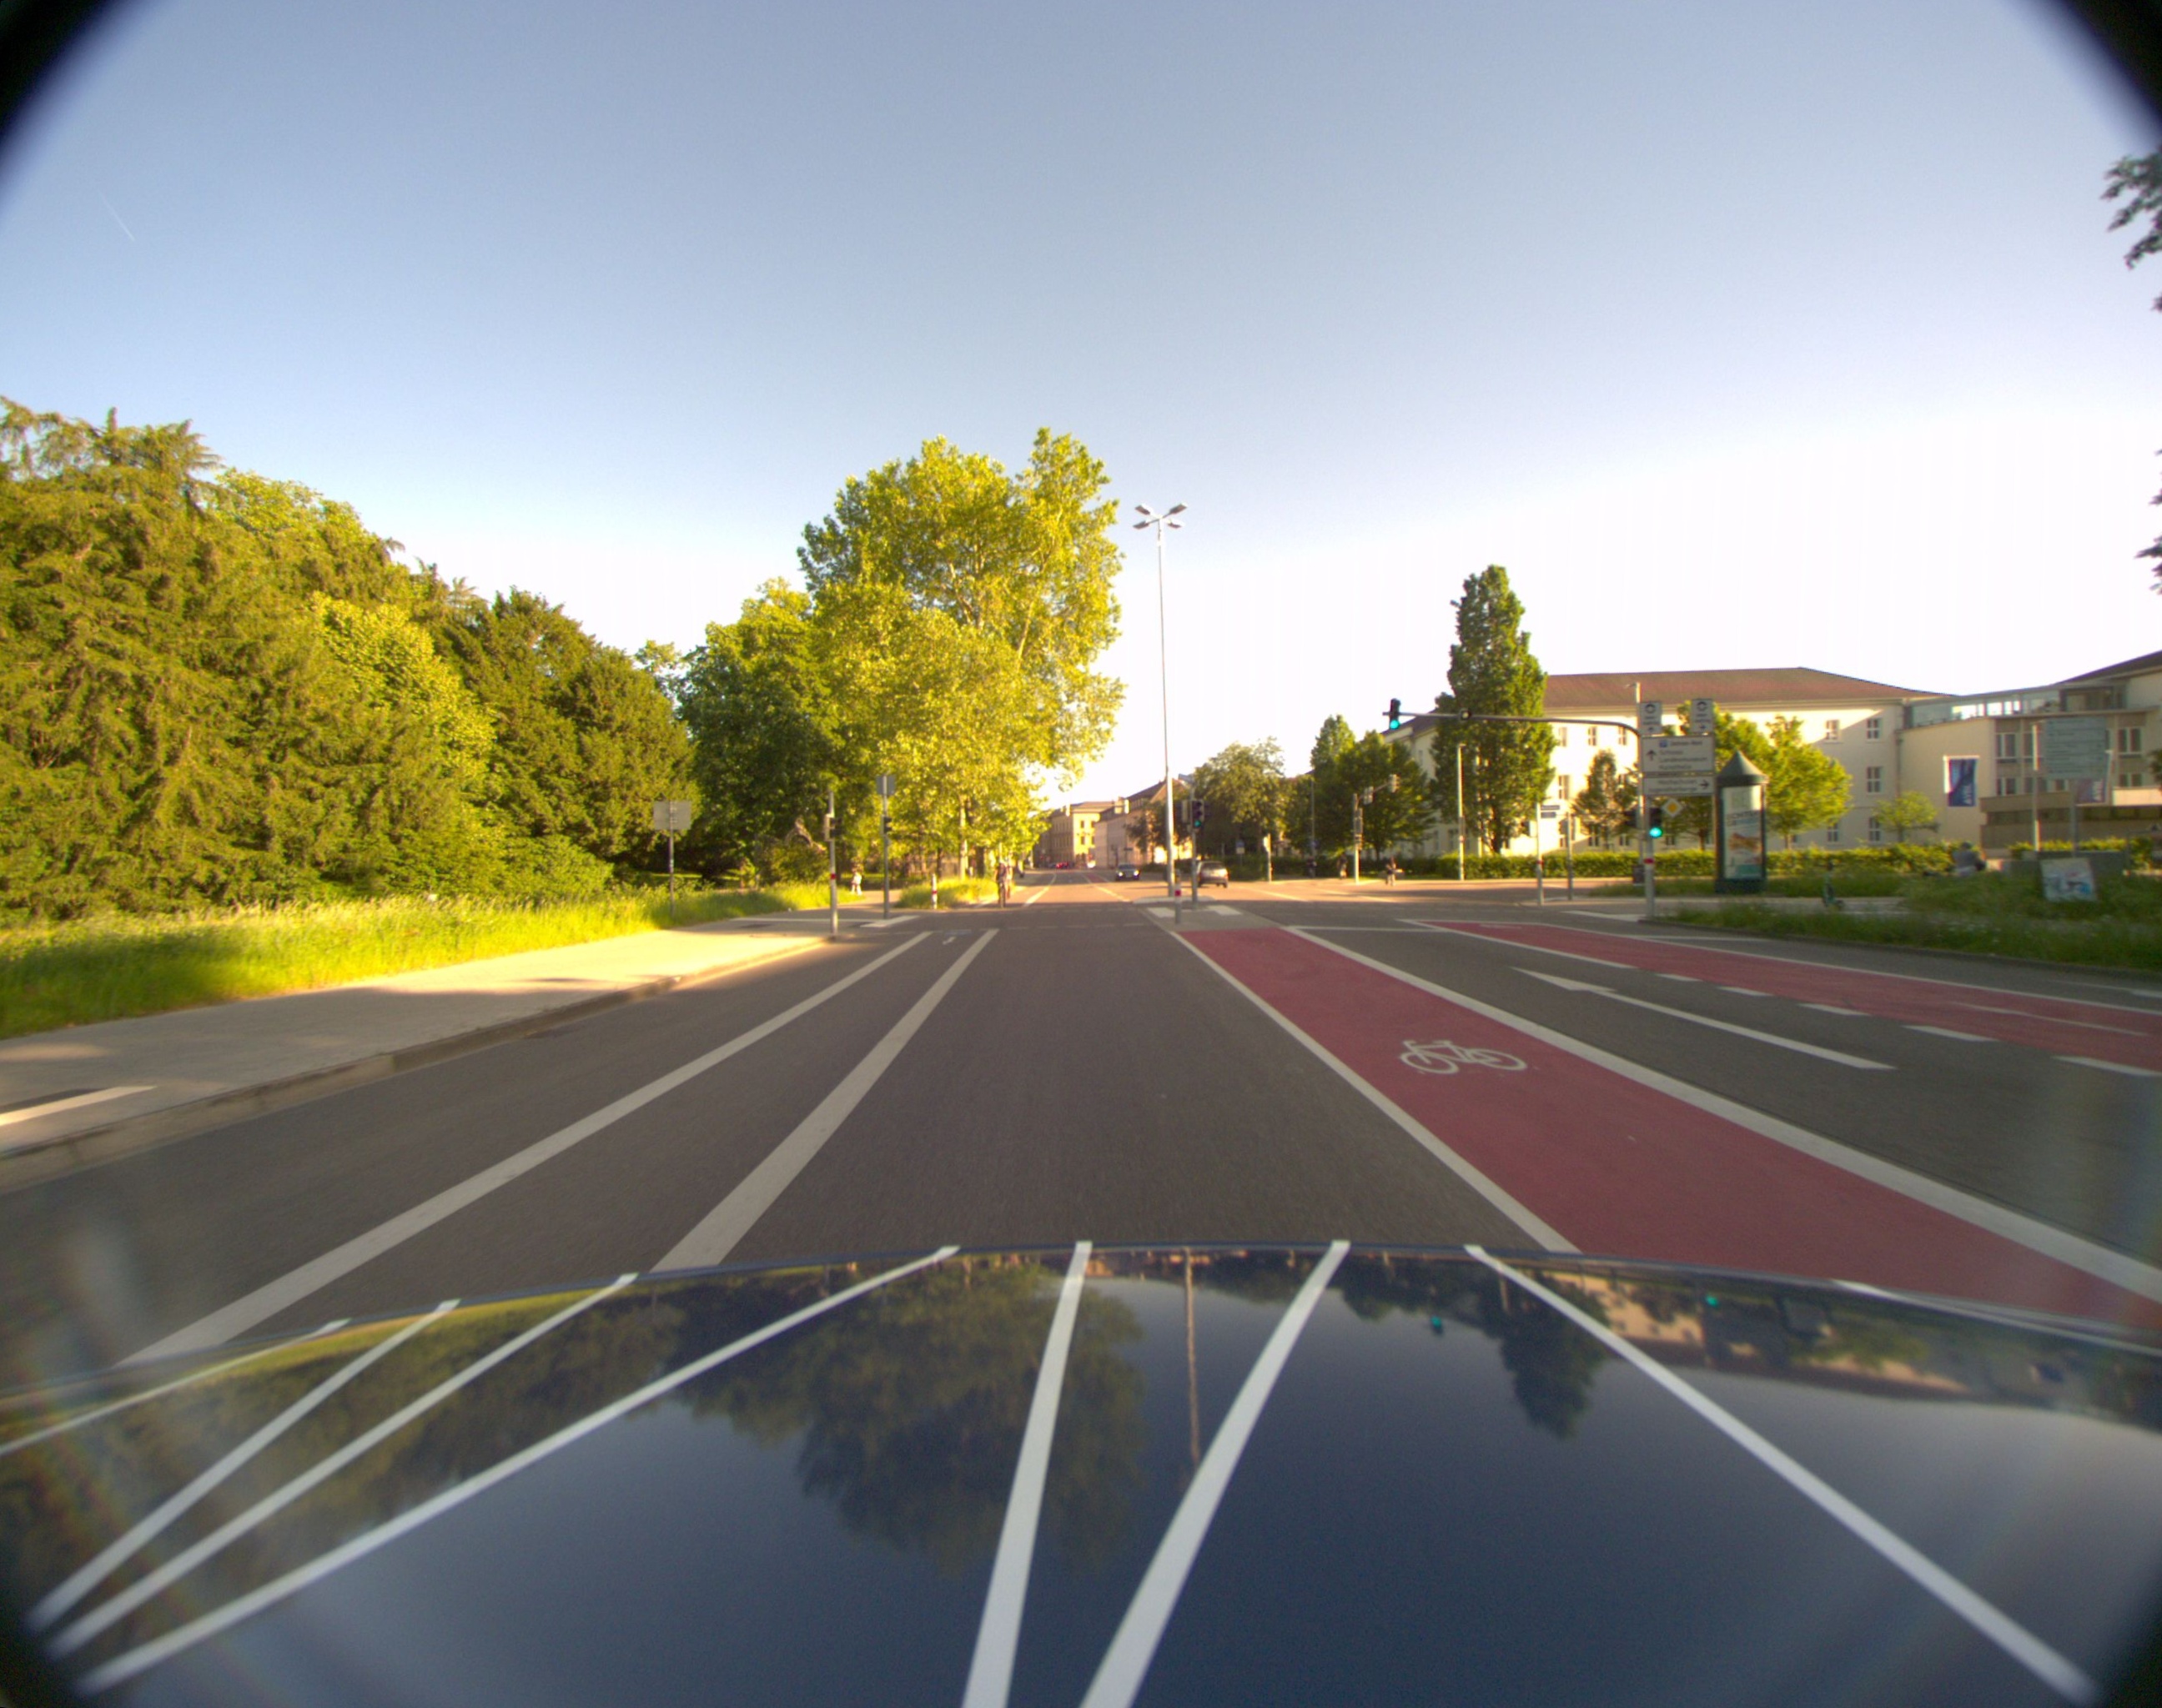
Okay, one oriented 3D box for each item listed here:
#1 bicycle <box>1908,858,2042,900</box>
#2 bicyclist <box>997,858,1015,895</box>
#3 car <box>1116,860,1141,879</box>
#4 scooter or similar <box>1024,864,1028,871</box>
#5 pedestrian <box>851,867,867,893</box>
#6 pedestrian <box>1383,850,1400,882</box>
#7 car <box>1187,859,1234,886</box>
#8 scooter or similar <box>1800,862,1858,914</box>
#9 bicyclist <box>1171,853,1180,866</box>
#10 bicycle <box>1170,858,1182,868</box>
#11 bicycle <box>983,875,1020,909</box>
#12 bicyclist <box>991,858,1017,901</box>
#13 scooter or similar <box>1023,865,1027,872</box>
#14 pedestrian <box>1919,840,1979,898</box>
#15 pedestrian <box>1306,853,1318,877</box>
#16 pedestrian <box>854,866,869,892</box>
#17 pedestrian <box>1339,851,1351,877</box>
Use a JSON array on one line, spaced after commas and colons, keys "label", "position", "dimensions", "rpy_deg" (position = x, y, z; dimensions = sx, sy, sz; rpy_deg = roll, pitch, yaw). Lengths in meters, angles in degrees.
[{"label": "bicycle", "position": [25.700, 0.714, 21.884], "dimensions": [2.576, 1.129, 0.980], "rpy_deg": [-1, 0, 4]}, {"label": "bicyclist", "position": [-3.144, 0.941, 32.029], "dimensions": [0.695, 1.492, 0.892], "rpy_deg": [-1, 0, -4]}, {"label": "car", "position": [3.821, 1.208, 61.610], "dimensions": [1.722, 1.409, 4.527], "rpy_deg": [-1, 0, -1]}, {"label": "scooter or similar", "position": [-8.406, 2.020, 115.833], "dimensions": [0.416, 1.035, 1.779], "rpy_deg": [-3, 0, 0]}, {"label": "pedestrian", "position": [-13.675, 1.598, 46.750], "dimensions": [0.691, 1.537, 0.681], "rpy_deg": [-1, 0, 8]}, {"label": "pedestrian", "position": [17.773, 0.709, 43.486], "dimensions": [0.744, 1.805, 0.727], "rpy_deg": [-1, 0, 8]}, {"label": "car", "position": [7.137, 0.990, 42.369], "dimensions": [1.715, 1.413, 4.553], "rpy_deg": [-1, 0, -2]}, {"label": "scooter or similar", "position": [19.524, 0.856, 19.857], "dimensions": [0.694, 1.286, 1.499], "rpy_deg": [-1, 0, 29]}, {"label": "bicyclist", "position": [10.757, 0.601, 86.560], "dimensions": [0.698, 1.457, 0.757], "rpy_deg": [-1, 0, -12]}, {"label": "bicycle", "position": [10.785, 0.997, 86.428], "dimensions": [0.698, 1.110, 2.187], "rpy_deg": [-1, 0, -12]}, {"label": "bicycle", "position": [-2.810, 1.339, 26.990], "dimensions": [0.694, 1.089, 2.138], "rpy_deg": [-1, 0, 11]}, {"label": "bicyclist", "position": [-2.761, 0.903, 27.227], "dimensions": [0.694, 1.482, 0.801], "rpy_deg": [-1, 0, 10]}, {"label": "scooter or similar", "position": [-8.368, 2.211, 113.497], "dimensions": [0.416, 1.035, 1.779], "rpy_deg": [-3, 0, 0]}, {"label": "pedestrian", "position": [25.512, 0.441, 22.351], "dimensions": [0.979, 1.686, 0.643], "rpy_deg": [-1, 0, 4]}, {"label": "pedestrian", "position": [16.821, 0.800, 55.291], "dimensions": [0.691, 1.672, 0.681], "rpy_deg": [-1, 0, 8]}, {"label": "pedestrian", "position": [-13.802, 1.547, 47.804], "dimensions": [0.691, 1.624, 0.681], "rpy_deg": [-1, 0, 8]}, {"label": "pedestrian", "position": [18.280, 0.684, 52.635], "dimensions": [0.691, 1.805, 0.681], "rpy_deg": [-1, 0, 8]}]
